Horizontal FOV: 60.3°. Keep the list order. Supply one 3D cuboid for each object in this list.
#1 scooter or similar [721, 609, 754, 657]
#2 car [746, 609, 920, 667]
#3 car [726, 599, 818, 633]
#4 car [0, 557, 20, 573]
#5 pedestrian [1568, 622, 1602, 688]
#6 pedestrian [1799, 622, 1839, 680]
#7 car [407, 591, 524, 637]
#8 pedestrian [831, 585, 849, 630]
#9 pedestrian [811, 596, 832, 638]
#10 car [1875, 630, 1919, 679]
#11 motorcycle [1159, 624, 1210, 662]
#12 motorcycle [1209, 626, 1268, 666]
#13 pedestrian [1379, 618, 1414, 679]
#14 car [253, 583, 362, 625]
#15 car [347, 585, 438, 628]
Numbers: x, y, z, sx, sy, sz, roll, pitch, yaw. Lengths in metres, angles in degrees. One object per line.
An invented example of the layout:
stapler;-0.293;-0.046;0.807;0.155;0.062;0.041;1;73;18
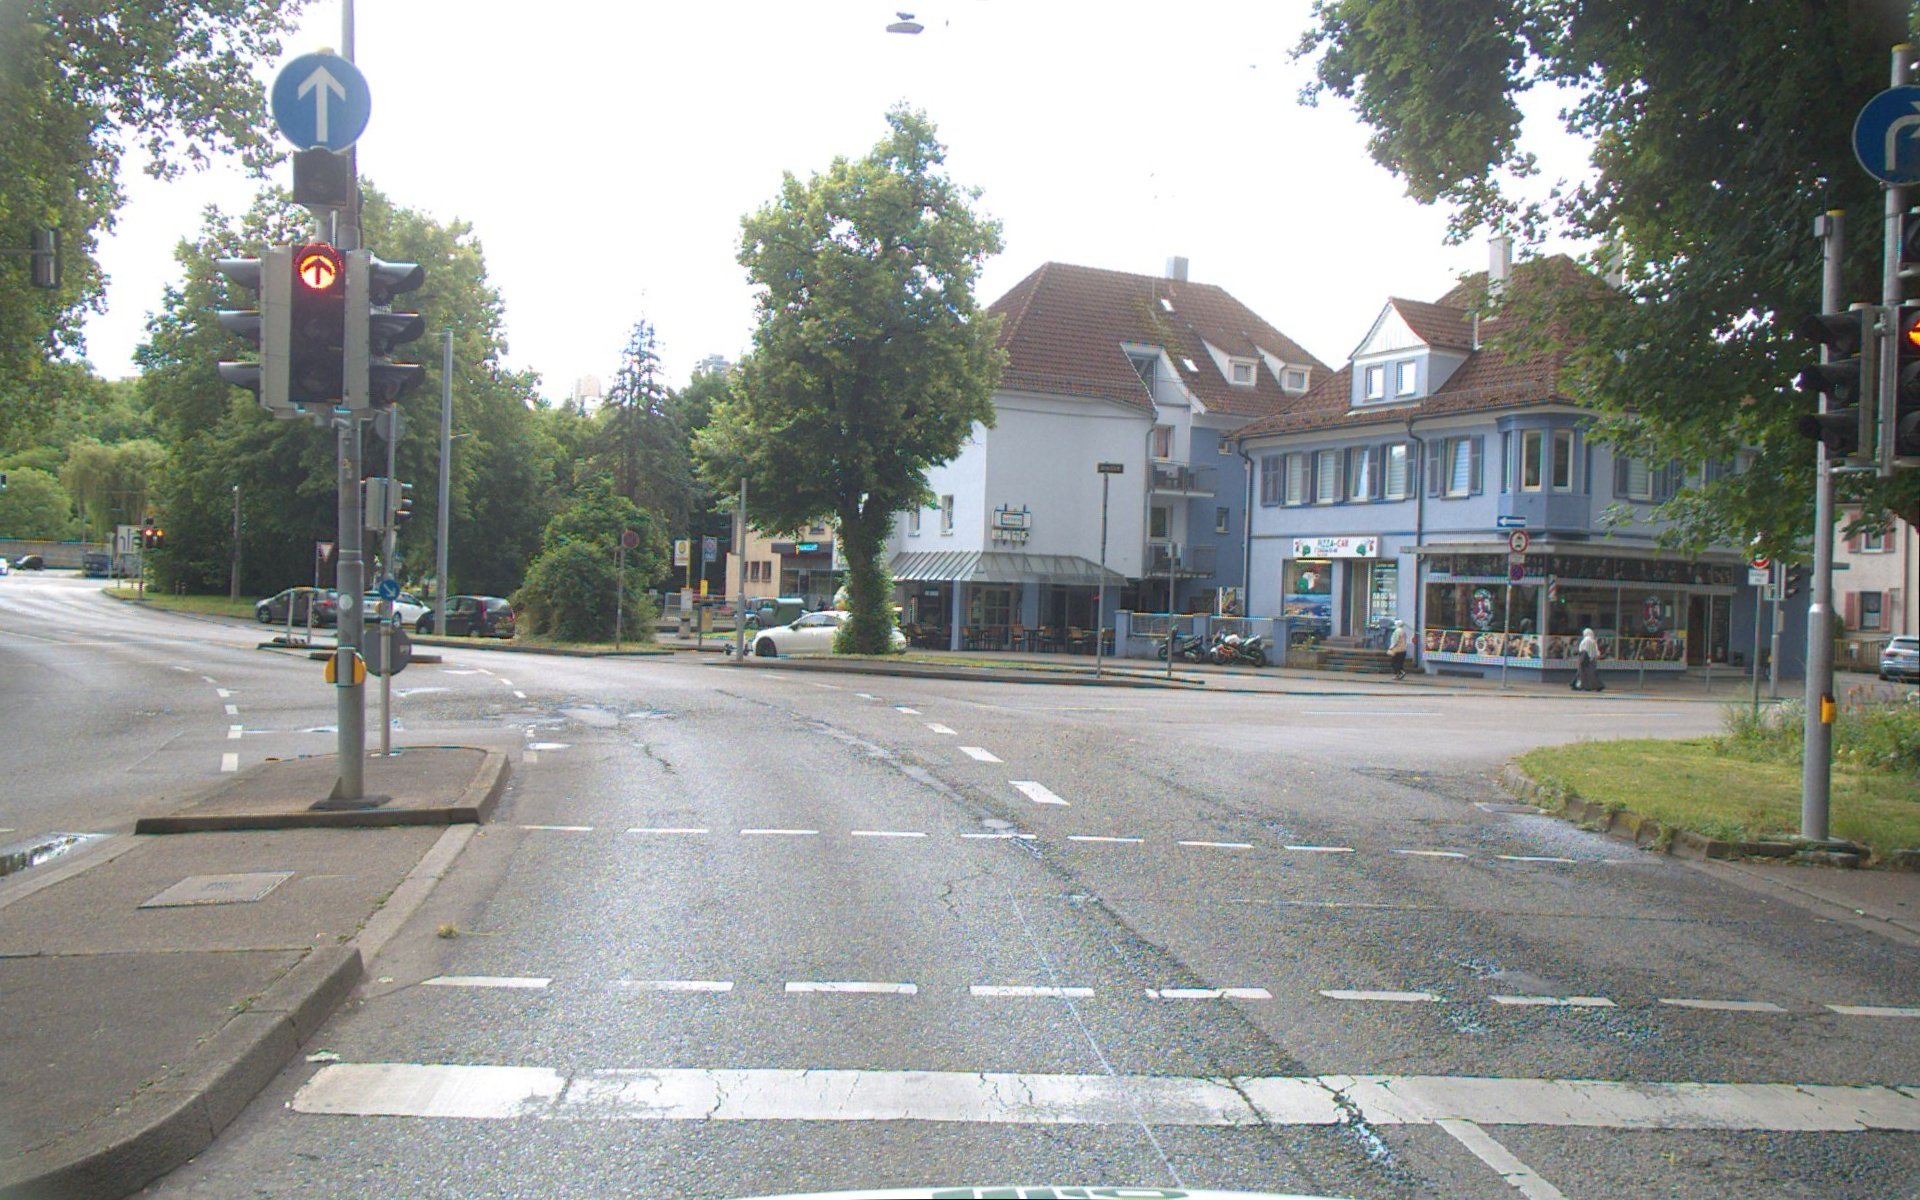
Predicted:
scooter or similar;-5.705;0.832;42.510;0.433;1.195;1.439;1;0;8
car;-3.536;1.025;45.685;4.618;1.435;1.896;1;0;35
car;-8.583;0.738;75.481;3.880;1.467;1.742;1;0;-21
car;-88.764;-3.241;153.748;2.970;1.442;1.492;0;-2;40
pedestrian;15.529;1.359;41.076;0.681;1.587;0.665;0;-1;30
pedestrian;23.996;1.411;46.207;0.659;1.587;0.743;1;-1;-15
car;-15.917;0.451;53.265;3.252;1.376;1.778;1;0;27
pedestrian;-4.286;0.275;59.195;0.531;1.587;0.468;0;-1;13
pedestrian;-6.778;0.830;80.752;0.823;2.049;1.052;1;0;-15
car;29.695;1.693;51.690;1.849;1.415;3.608;1;0;28
motorcycle;6.811;1.292;50.211;1.430;1.107;0.522;1;0;35
motorcycle;8.164;1.343;48.461;1.595;1.107;0.625;1;0;32
pedestrian;11.553;1.280;43.764;0.717;1.587;0.767;0;-1;30
car;-25.010;0.156;63.424;3.695;1.491;1.622;1;0;18
car;-22.735;0.263;66.407;1.821;1.668;3.757;1;0;10
